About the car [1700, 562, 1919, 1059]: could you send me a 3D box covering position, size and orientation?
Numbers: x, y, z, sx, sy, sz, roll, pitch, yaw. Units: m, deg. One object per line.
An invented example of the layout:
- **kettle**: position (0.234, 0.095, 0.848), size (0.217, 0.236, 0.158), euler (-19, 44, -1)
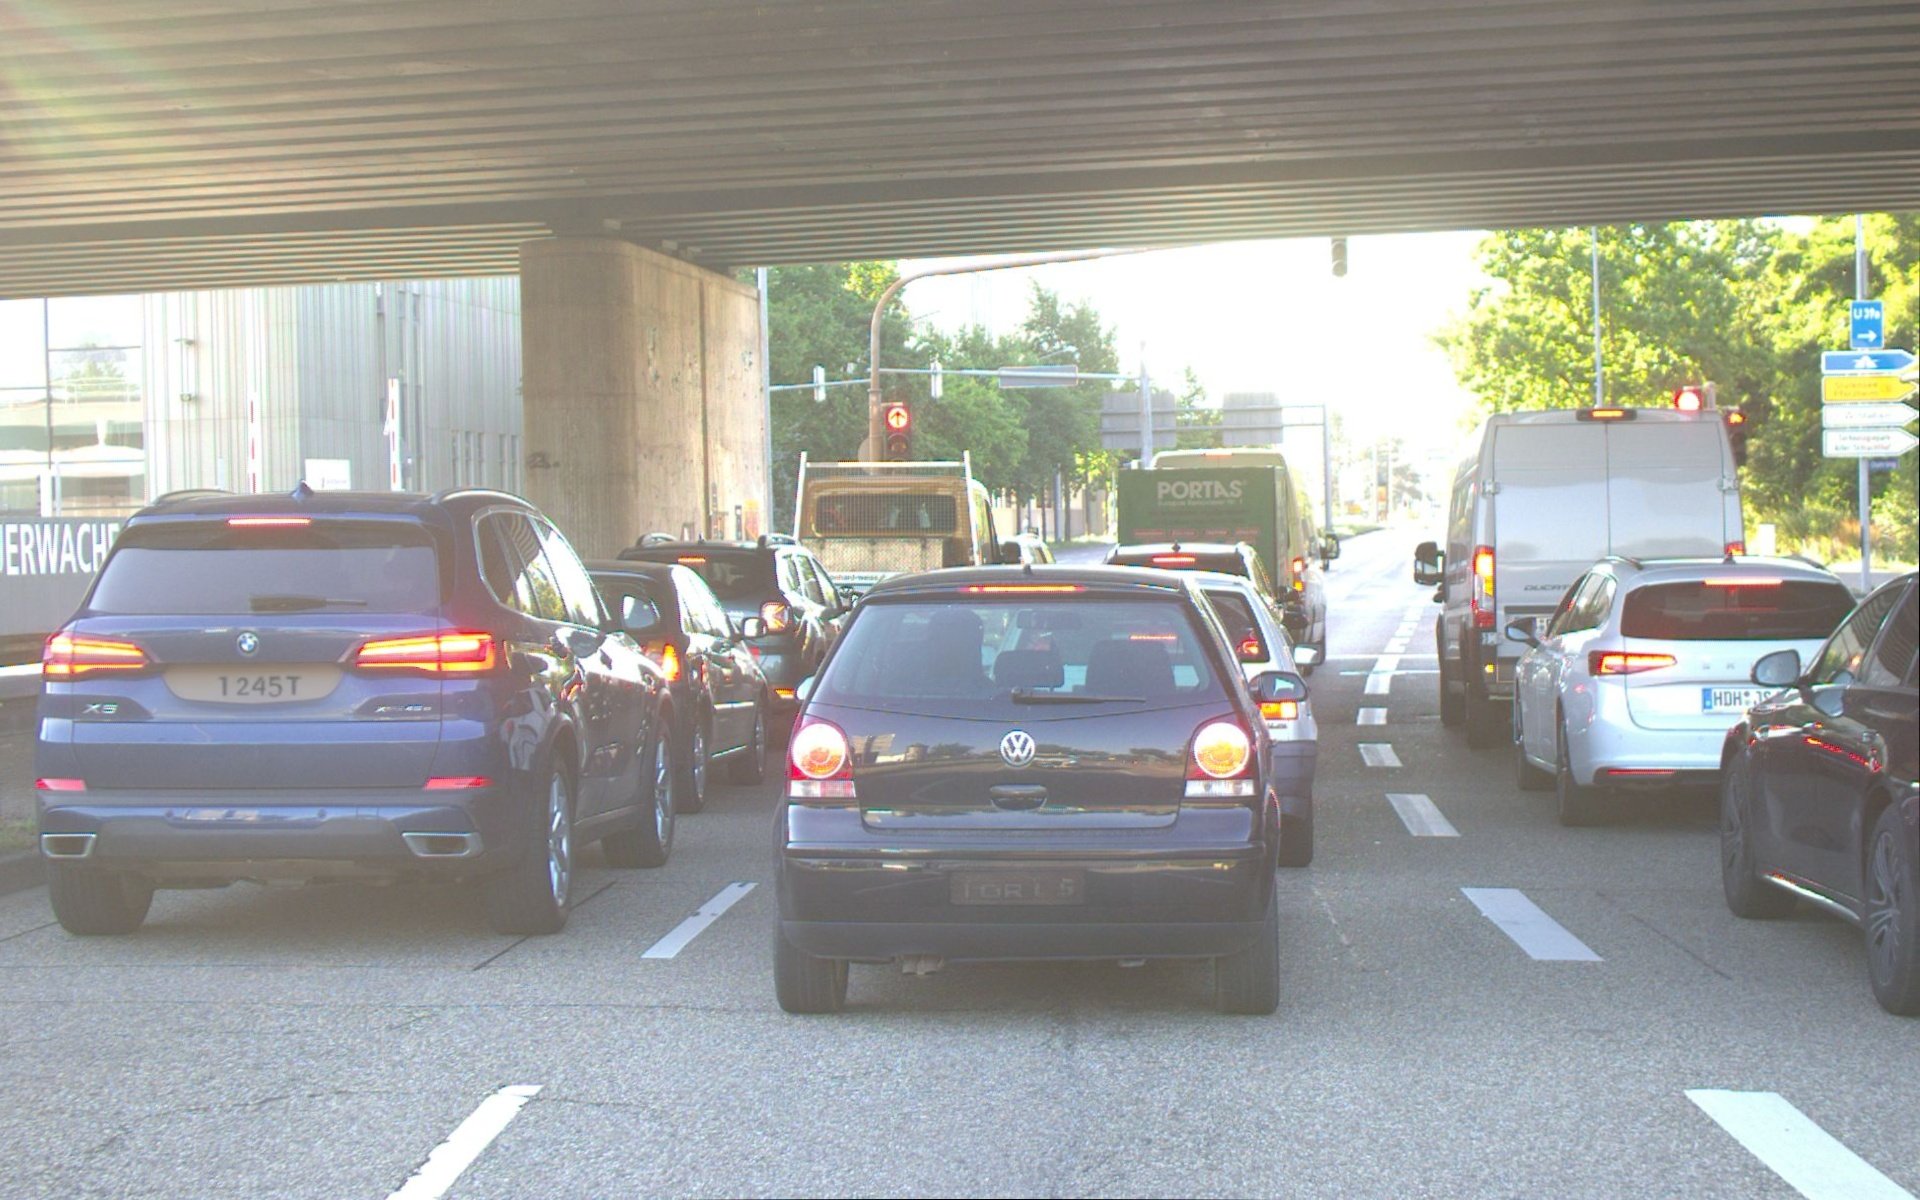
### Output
- **car**: position (3.871, 0.625, 12.113), size (1.740, 1.449, 4.605), euler (0, 1, 3)

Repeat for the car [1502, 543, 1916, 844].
- **car**: position (4.138, 0.485, 19.538), size (1.773, 1.490, 3.831), euler (-2, 0, 5)

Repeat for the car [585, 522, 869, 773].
- **car**: position (-1.756, 0.350, 27.119), size (1.841, 1.713, 4.000), euler (-4, 0, 0)

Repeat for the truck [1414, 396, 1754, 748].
- **truck**: position (4.870, -0.208, 27.448), size (2.111, 2.511, 4.400), euler (-2, 0, 4)

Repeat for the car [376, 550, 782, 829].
- **car**: position (-2.220, 0.500, 20.988), size (1.841, 1.435, 3.675), euler (-4, 0, 2)

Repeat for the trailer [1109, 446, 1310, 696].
- **trailer**: position (2.707, -0.291, 36.534), size (1.864, 2.456, 3.831), euler (-2, 0, 7)

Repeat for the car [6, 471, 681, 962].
- **car**: position (-2.400, 0.426, 14.575), size (1.829, 1.732, 4.461), euler (-1, 0, 3)

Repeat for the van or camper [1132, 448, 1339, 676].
- **van or camper**: position (3.448, -0.431, 41.980), size (1.994, 2.562, 5.915), euler (-1, 0, 9)

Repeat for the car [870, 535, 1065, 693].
- **car**: position (0.149, 0.175, 43.814), size (1.994, 1.894, 3.999), euler (-1, 0, 7)

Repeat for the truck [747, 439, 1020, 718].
- **truck**: position (-0.666, -0.194, 34.551), size (2.028, 2.548, 5.536), euler (-1, 0, 6)

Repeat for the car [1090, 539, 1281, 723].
- **car**: position (2.055, 0.270, 30.592), size (1.582, 1.527, 3.831), euler (0, 0, 5)

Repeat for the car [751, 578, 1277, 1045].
- **car**: position (0.204, 0.649, 12.291), size (1.582, 1.404, 3.832), euler (0, 0, 1)

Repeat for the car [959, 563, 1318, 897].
- **car**: position (0.939, 0.577, 17.414), size (1.547, 1.418, 3.417), euler (-4, 1, 4)
